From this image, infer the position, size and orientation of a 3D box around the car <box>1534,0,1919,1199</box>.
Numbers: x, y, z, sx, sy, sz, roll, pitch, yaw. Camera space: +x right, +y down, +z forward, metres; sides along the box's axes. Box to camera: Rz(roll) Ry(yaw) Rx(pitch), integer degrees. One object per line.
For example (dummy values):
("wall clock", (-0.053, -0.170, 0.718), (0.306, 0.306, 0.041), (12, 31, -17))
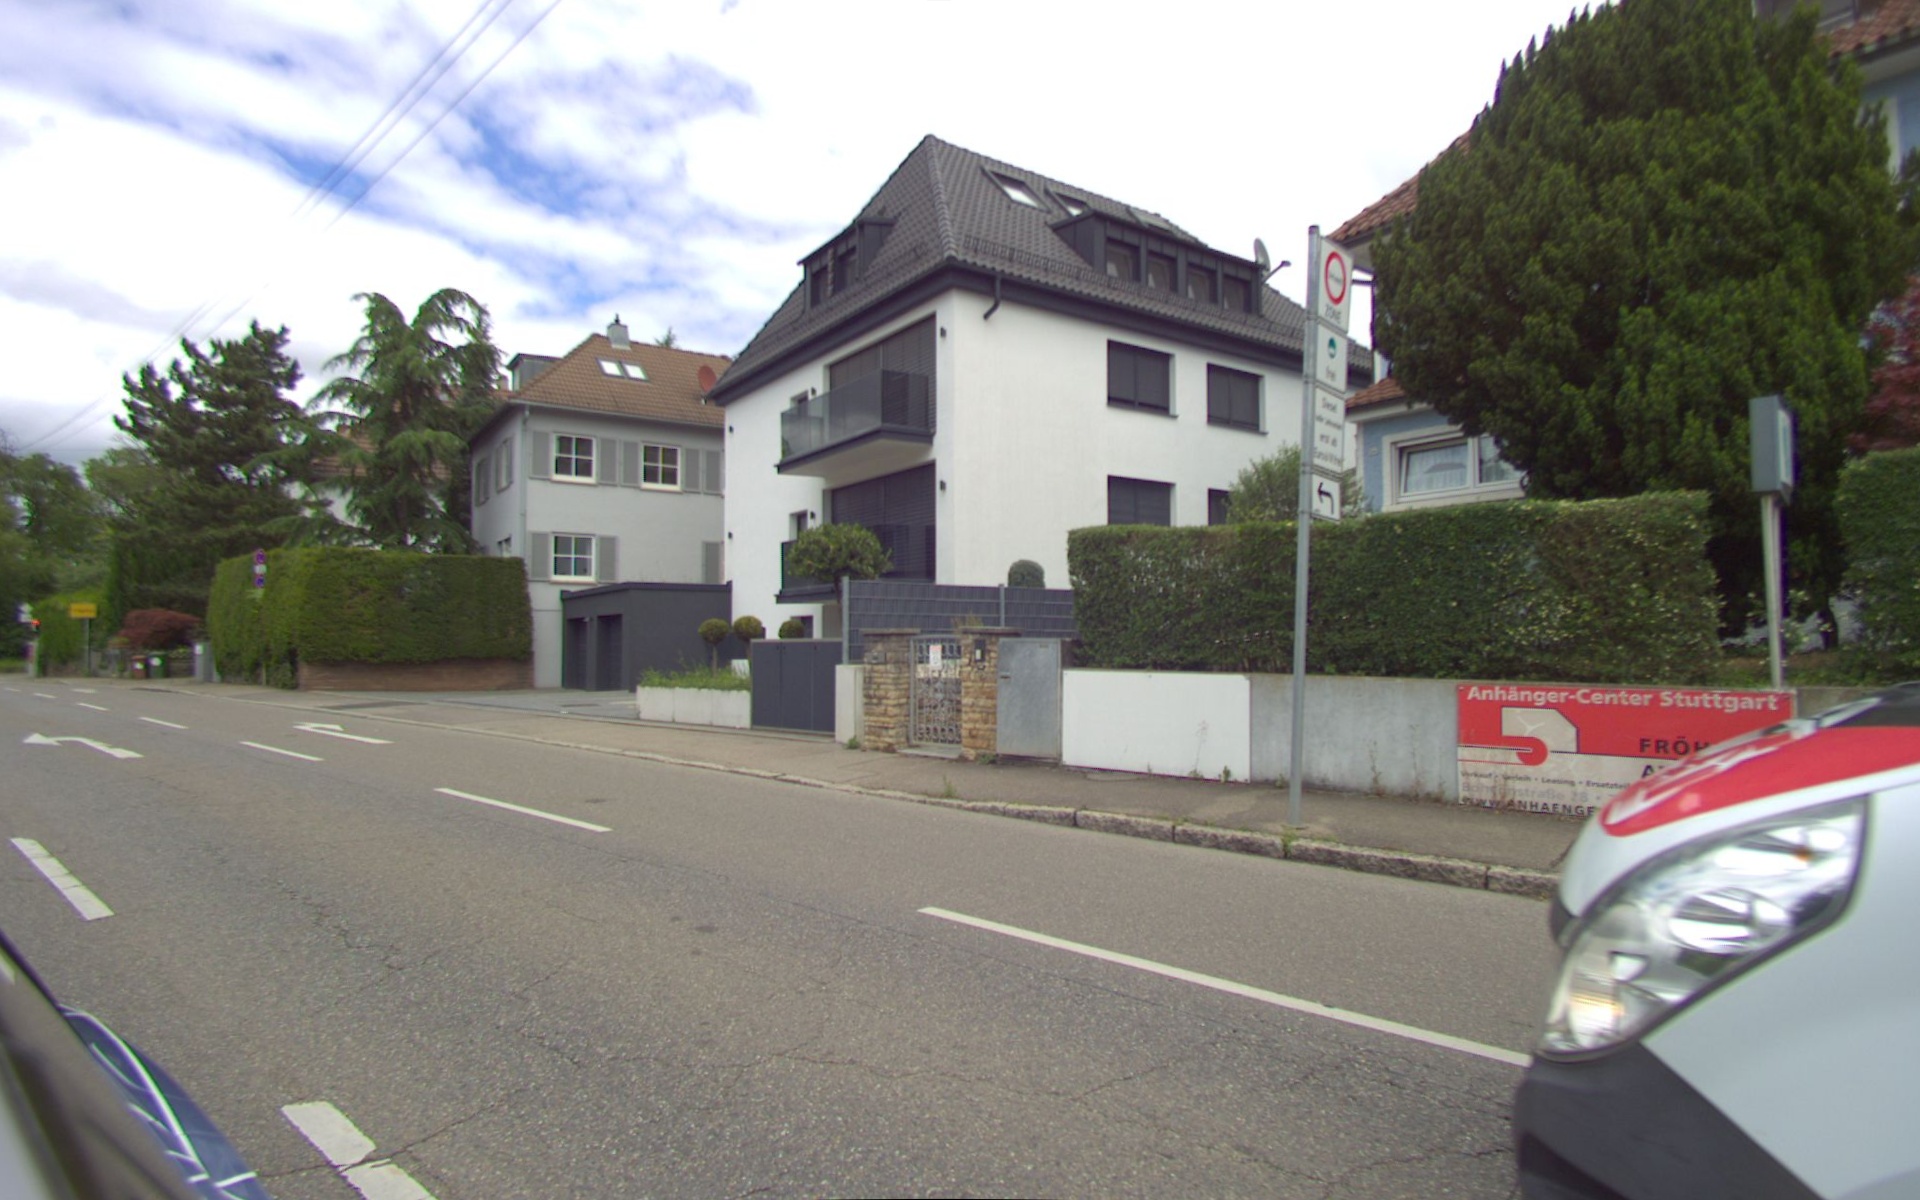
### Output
("car", (3.770, 0.067, 0.171), (6.120, 2.517, 2.090), (-1, -2, 41))

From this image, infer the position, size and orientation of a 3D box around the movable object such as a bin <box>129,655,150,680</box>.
("movable object such as a bin", (-32.248, 2.646, 39.770), (0.457, 0.949, 0.649), (-1, -2, -21))

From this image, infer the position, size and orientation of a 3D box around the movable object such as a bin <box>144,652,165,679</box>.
("movable object such as a bin", (-31.781, 2.571, 39.927), (0.472, 1.042, 0.718), (-1, -2, -21))

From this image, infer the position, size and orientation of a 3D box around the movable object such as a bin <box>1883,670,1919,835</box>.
("movable object such as a bin", (6.060, 0.933, 6.221), (0.540, 0.981, 0.502), (-2, -3, 44))
